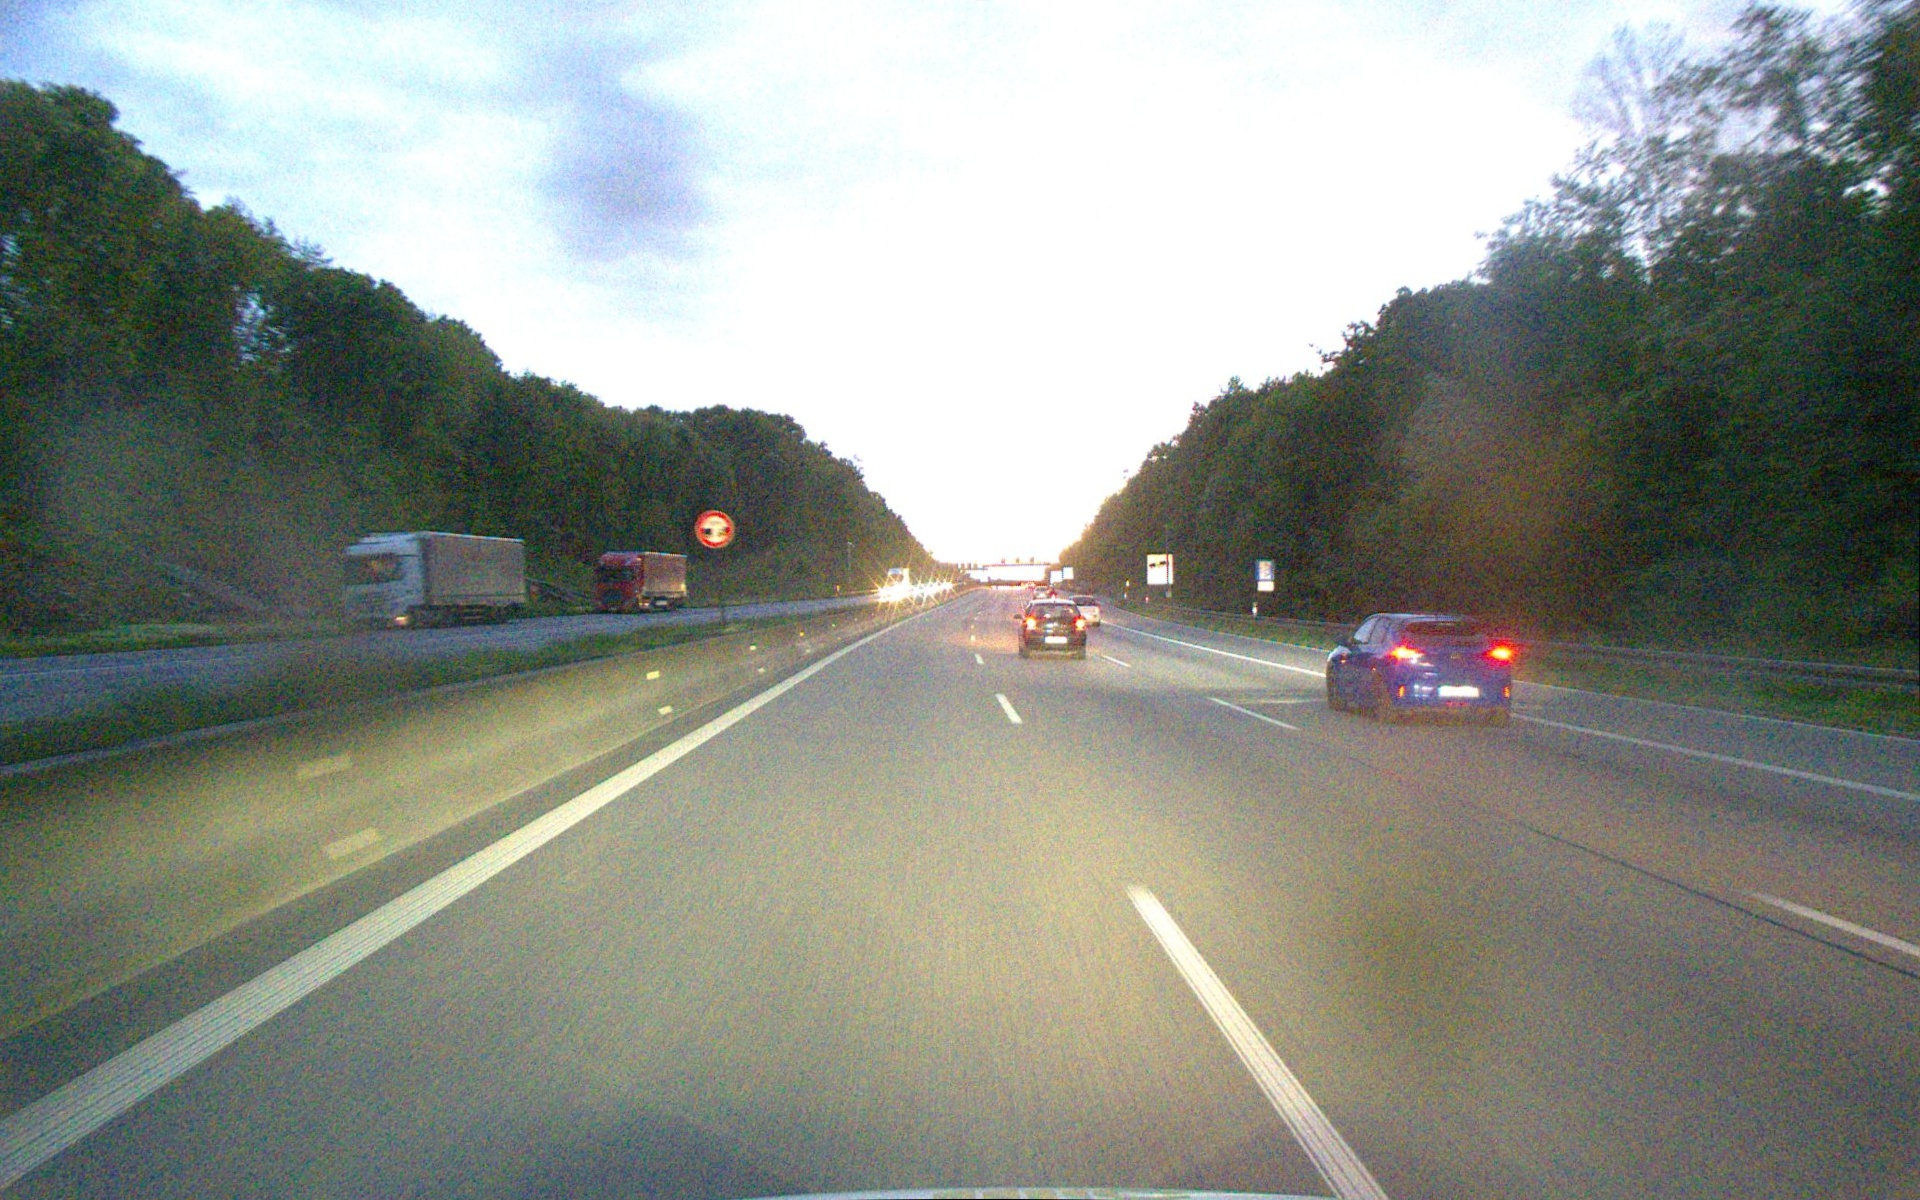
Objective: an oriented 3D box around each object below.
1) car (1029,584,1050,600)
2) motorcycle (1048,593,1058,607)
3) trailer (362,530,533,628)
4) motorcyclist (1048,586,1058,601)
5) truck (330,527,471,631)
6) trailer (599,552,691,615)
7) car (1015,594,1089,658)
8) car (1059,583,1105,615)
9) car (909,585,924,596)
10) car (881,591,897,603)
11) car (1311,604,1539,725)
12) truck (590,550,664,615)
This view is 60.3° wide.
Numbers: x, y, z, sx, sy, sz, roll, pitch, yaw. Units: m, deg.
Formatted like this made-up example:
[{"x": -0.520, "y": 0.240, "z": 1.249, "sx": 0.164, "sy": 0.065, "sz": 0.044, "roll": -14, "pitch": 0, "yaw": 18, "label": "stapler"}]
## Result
[{"x": 8.129, "y": -0.837, "z": 169.322, "sx": 1.828, "sy": 1.520, "sz": 4.396, "roll": 1, "pitch": -1, "yaw": -2, "label": "car"}, {"x": 8.011, "y": -0.003, "z": 142.586, "sx": 0.812, "sy": 1.154, "sz": 2.476, "roll": 0, "pitch": 0, "yaw": 2, "label": "motorcycle"}, {"x": -23.603, "y": -0.892, "z": 77.319, "sx": 3.124, "sy": 4.176, "sz": 13.744, "roll": 0, "pitch": 0, "yaw": 2, "label": "trailer"}, {"x": 8.006, "y": -0.549, "z": 142.522, "sx": 0.812, "sy": 1.314, "sz": 1.190, "roll": 0, "pitch": 0, "yaw": 2, "label": "motorcyclist"}, {"x": -23.875, "y": -0.855, "z": 71.050, "sx": 3.124, "sy": 4.176, "sz": 7.692, "roll": 0, "pitch": 0, "yaw": 3, "label": "truck"}, {"x": -22.168, "y": -1.075, "z": 117.439, "sx": 3.124, "sy": 4.176, "sz": 14.188, "roll": 0, "pitch": 0, "yaw": 3, "label": "trailer"}, {"x": 2.328, "y": 0.665, "z": 42.591, "sx": 1.669, "sy": 1.536, "sz": 4.232, "roll": 1, "pitch": -1, "yaw": 0, "label": "car"}, {"x": 6.007, "y": -0.034, "z": 81.874, "sx": 1.789, "sy": 1.501, "sz": 4.396, "roll": 1, "pitch": -1, "yaw": -2, "label": "car"}, {"x": -5.677, "y": -1.240, "z": 216.047, "sx": 1.812, "sy": 1.406, "sz": 4.644, "roll": 0, "pitch": 1, "yaw": 0, "label": "car"}, {"x": -8.638, "y": -0.365, "z": 202.046, "sx": 1.651, "sy": 1.541, "sz": 4.415, "roll": 0, "pitch": 0, "yaw": 2, "label": "car"}, {"x": 6.317, "y": 0.820, "z": 23.014, "sx": 1.827, "sy": 1.461, "sz": 4.583, "roll": 1, "pitch": 0, "yaw": -1, "label": "car"}, {"x": -22.426, "y": -1.144, "z": 111.841, "sx": 3.124, "sy": 4.176, "sz": 7.692, "roll": 0, "pitch": 0, "yaw": 3, "label": "truck"}]
